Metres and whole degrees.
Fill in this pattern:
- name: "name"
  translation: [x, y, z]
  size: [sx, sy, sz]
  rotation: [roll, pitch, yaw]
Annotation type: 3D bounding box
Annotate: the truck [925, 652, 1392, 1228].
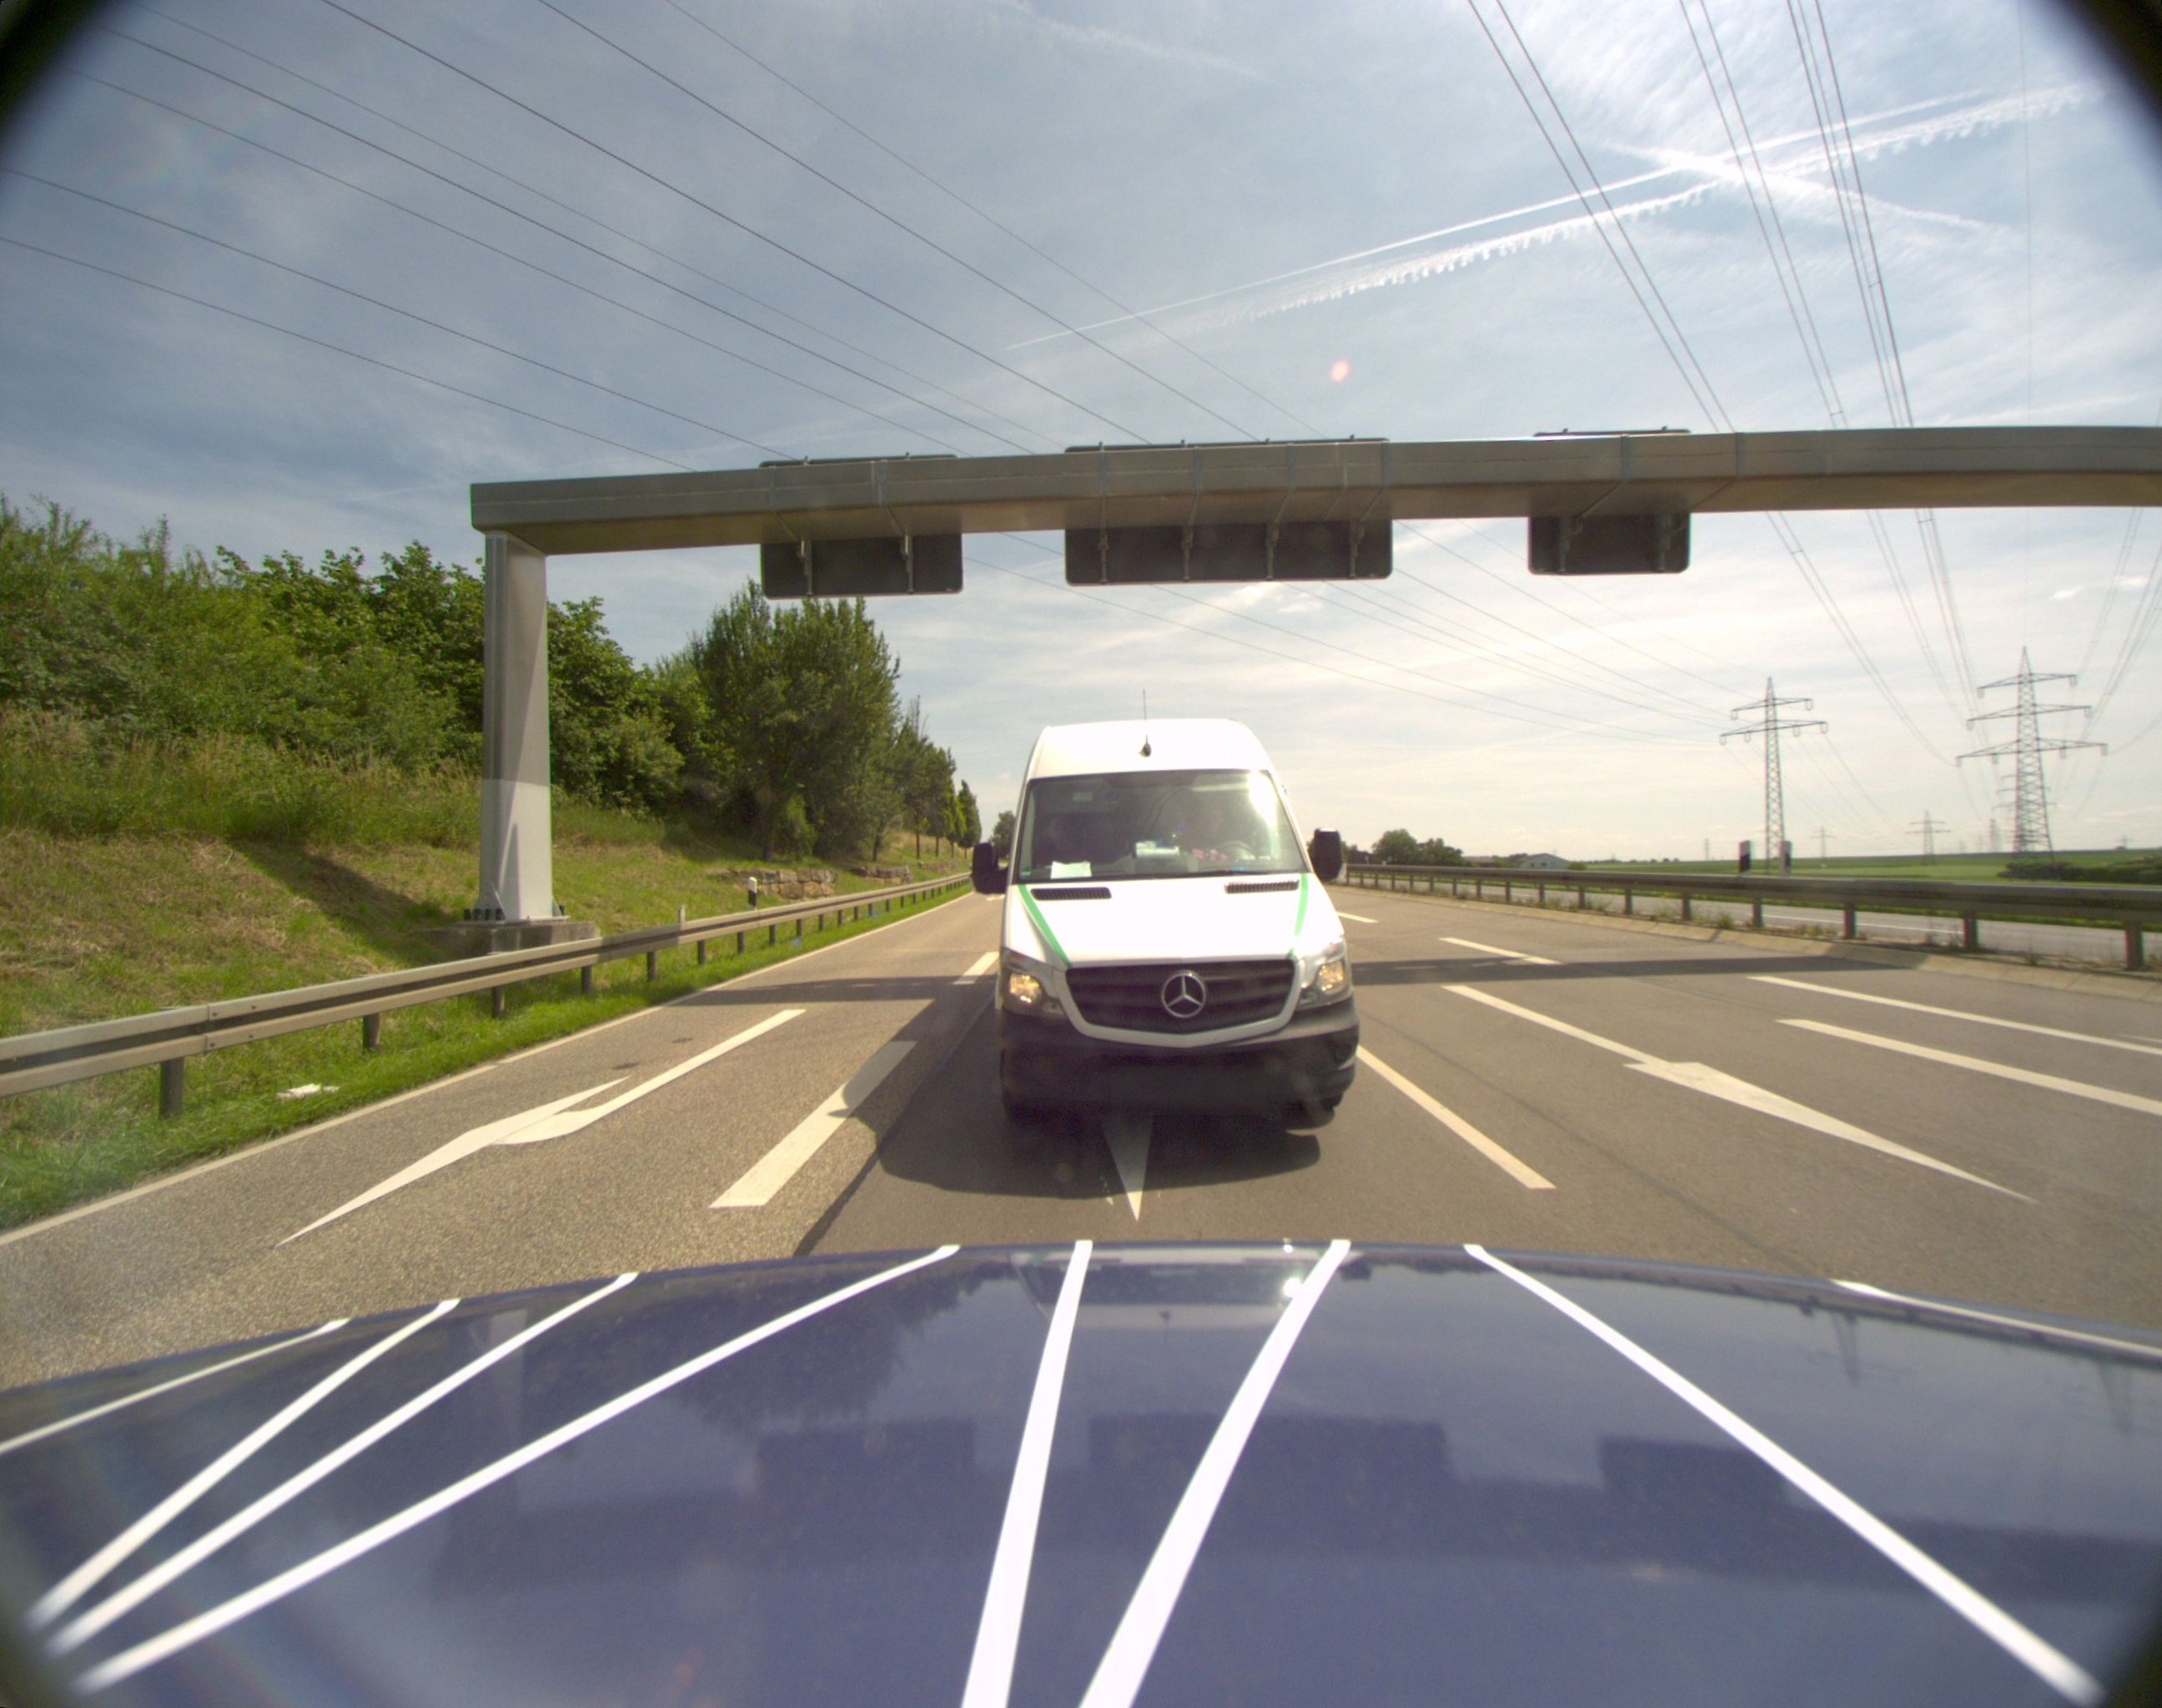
- name: "truck"
  translation: [0.438, 0.389, 5.933]
  size: [1.998, 2.518, 5.105]
  rotation: [-2, 0, 2]
